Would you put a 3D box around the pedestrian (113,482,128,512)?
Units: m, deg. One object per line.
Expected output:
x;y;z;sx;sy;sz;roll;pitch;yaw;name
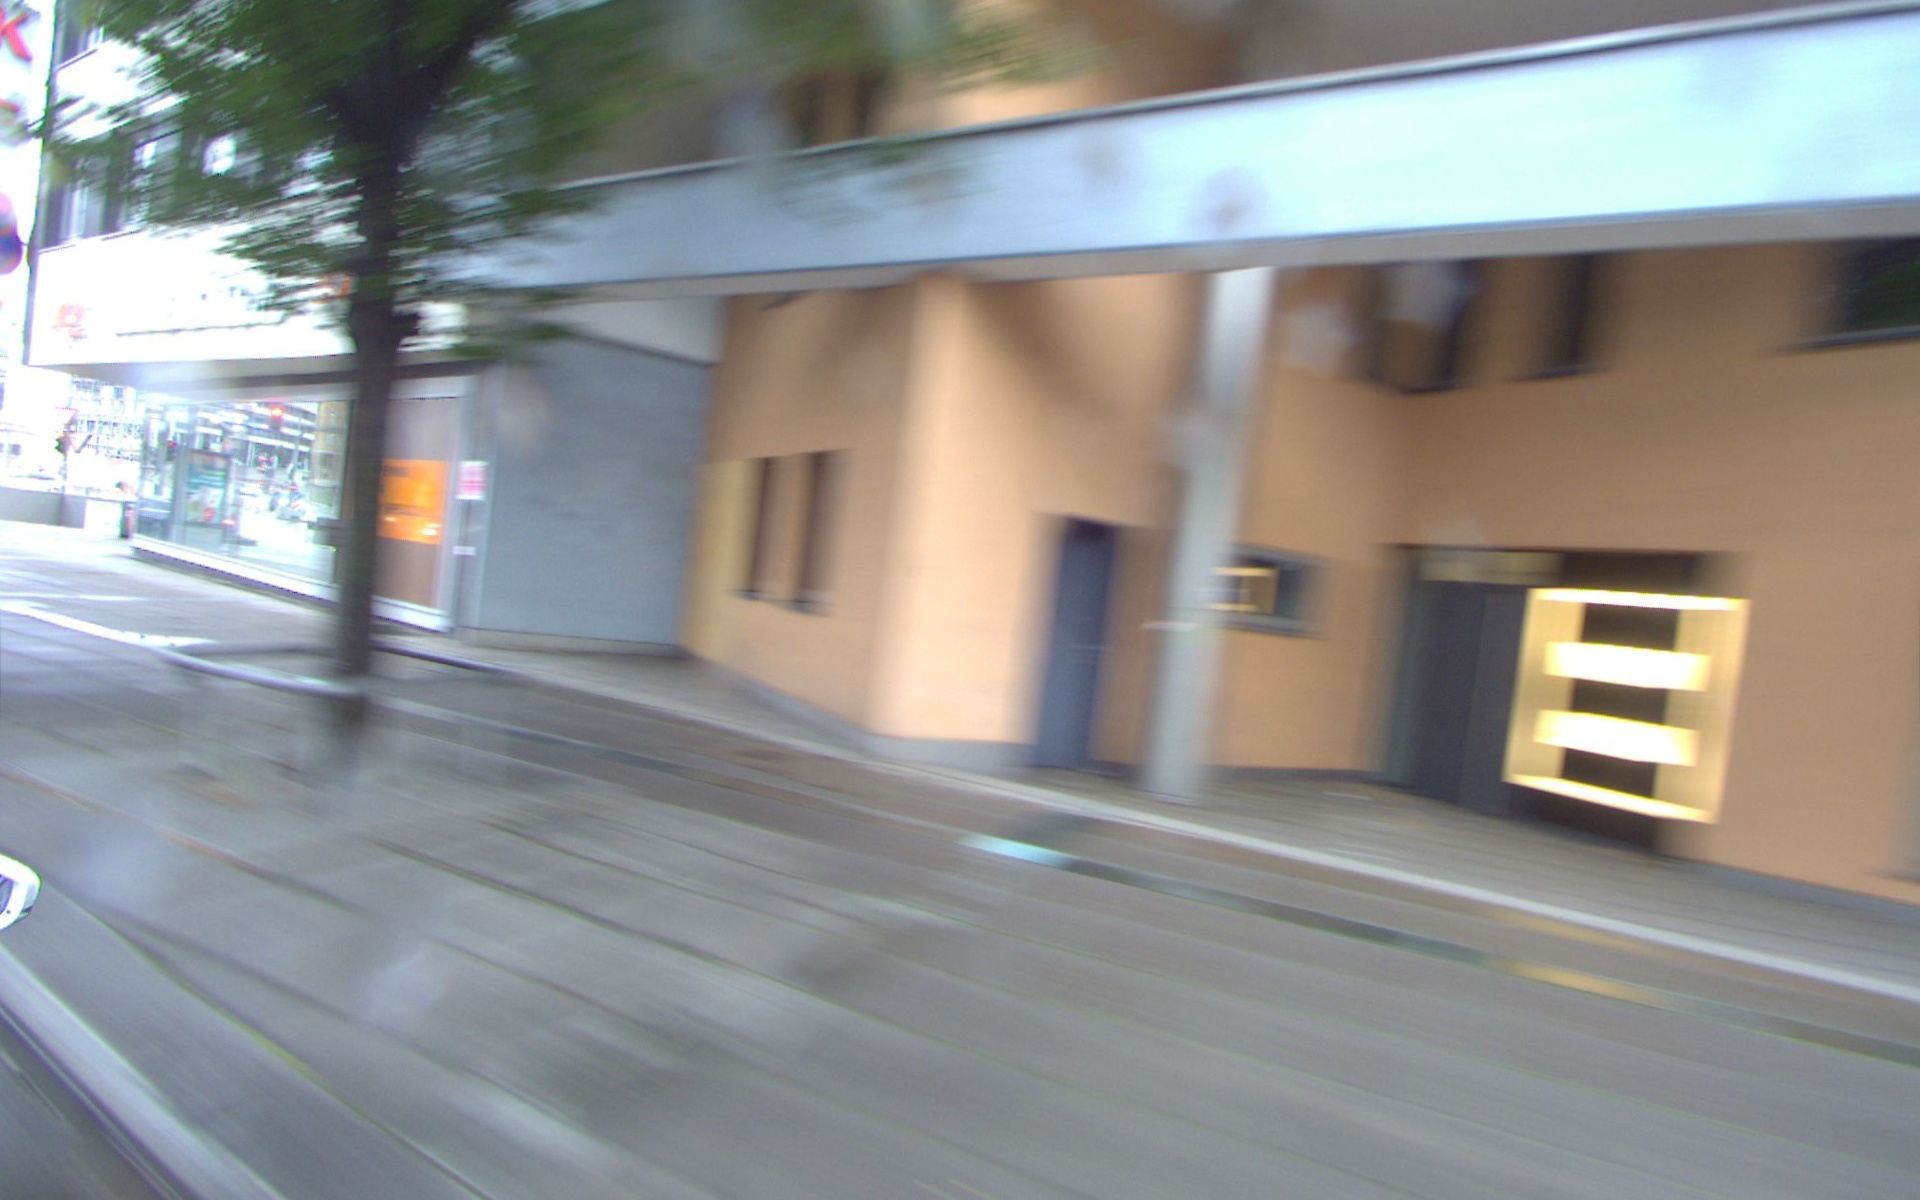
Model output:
-57.814;-7.100;69.300;0.356;1.921;0.575;7;1;34;pedestrian

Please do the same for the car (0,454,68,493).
-56.618;-7.694;60.276;1.970;1.787;4.402;7;-1;38;car
